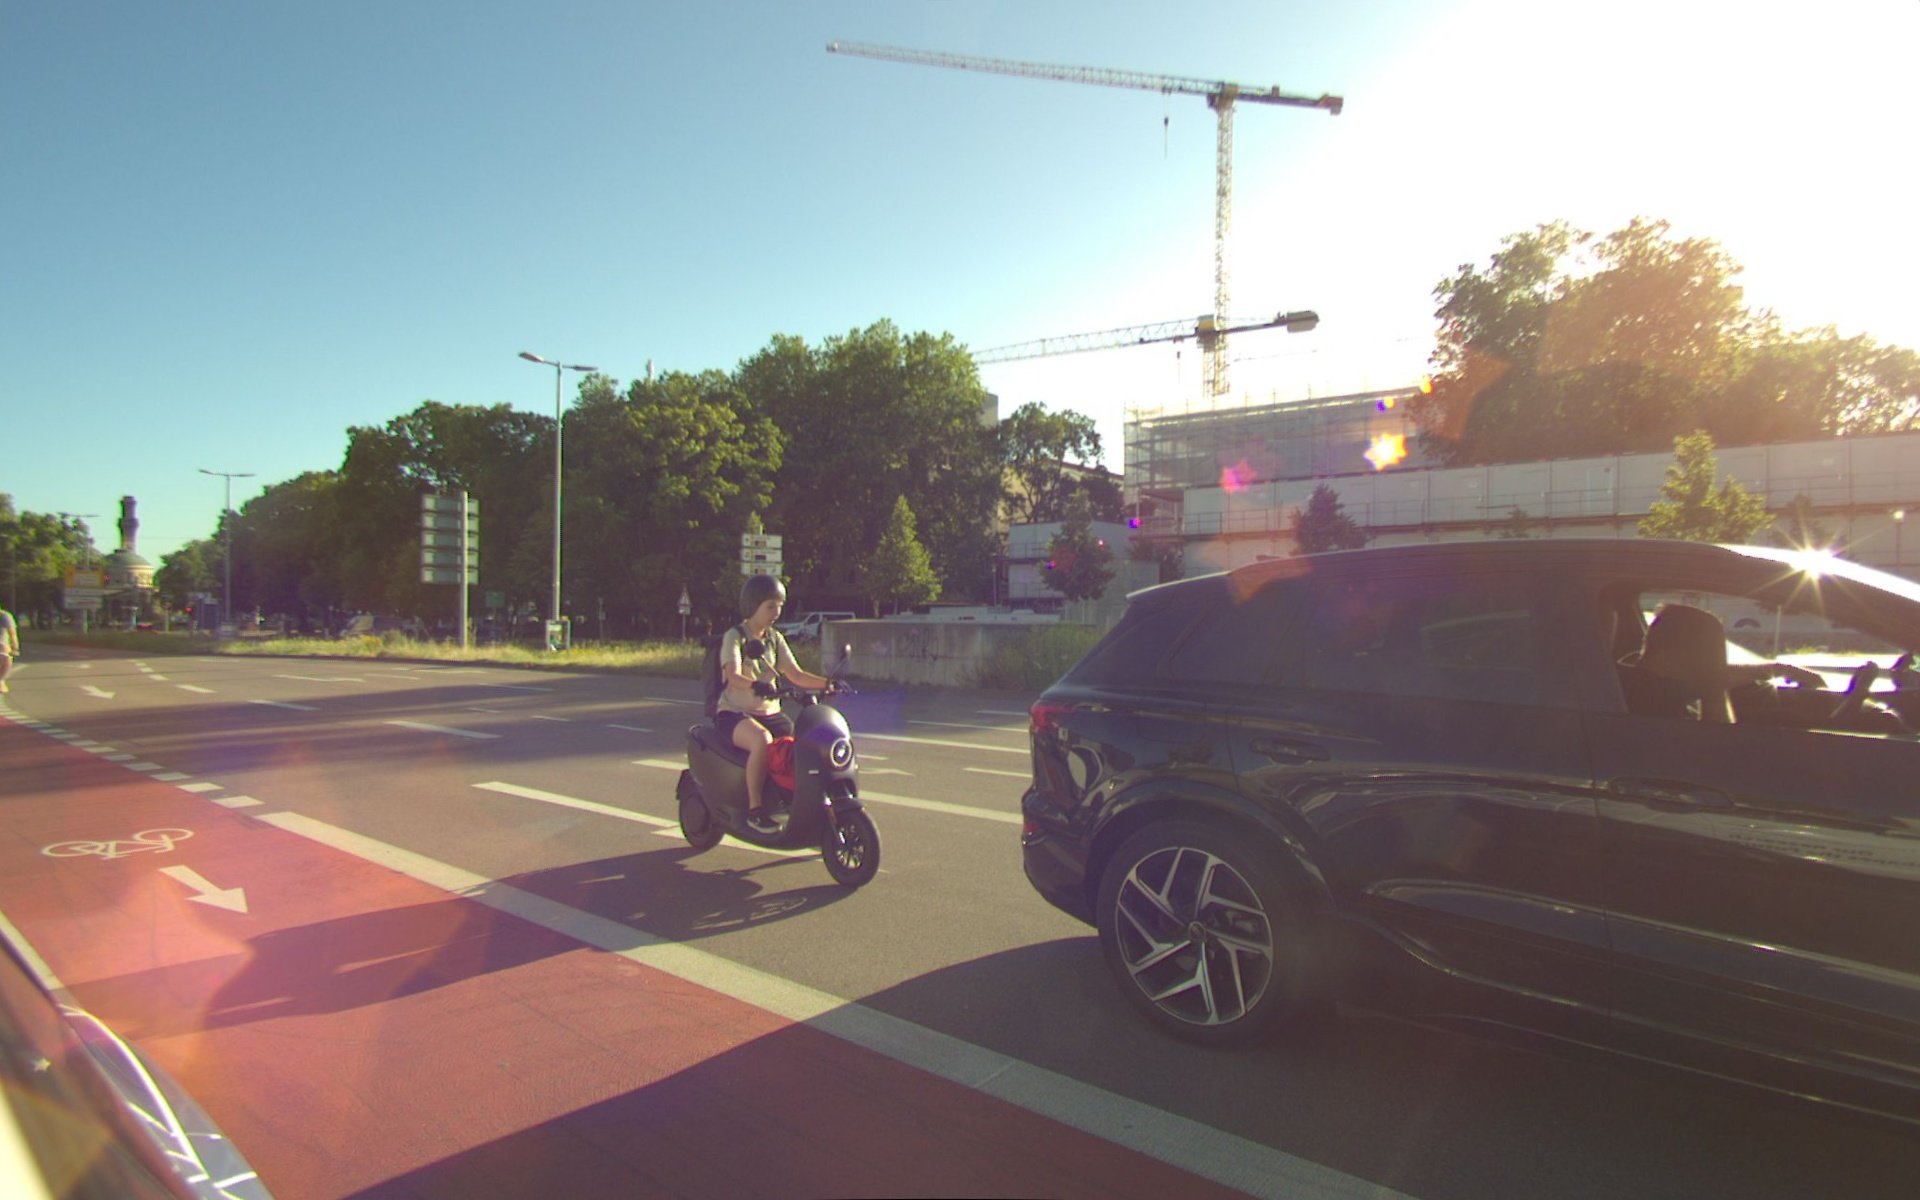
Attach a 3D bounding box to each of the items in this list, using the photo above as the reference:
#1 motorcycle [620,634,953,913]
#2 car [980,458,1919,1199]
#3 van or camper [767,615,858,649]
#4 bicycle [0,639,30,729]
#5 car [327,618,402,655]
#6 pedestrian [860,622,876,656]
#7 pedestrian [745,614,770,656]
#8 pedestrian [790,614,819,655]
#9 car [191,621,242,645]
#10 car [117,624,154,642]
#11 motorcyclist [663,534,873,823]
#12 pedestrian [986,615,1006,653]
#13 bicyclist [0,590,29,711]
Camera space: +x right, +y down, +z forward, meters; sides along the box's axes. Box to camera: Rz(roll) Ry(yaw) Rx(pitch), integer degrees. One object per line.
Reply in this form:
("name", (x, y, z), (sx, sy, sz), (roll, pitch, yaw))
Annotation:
("motorcycle", (-1.029, 0.843, 5.710), (1.943, 1.290, 0.817), (-1, -2, 41))
("car", (2.549, 0.554, 3.195), (4.660, 1.720, 2.144), (-1, -1, 40))
("van or camper", (-8.961, 1.933, 61.893), (1.951, 1.960, 5.425), (-2, -2, 44))
("bicycle", (-13.656, 1.167, 14.227), (1.505, 1.201, 0.680), (-1, -2, 41))
("car", (-32.495, 1.954, 55.186), (4.925, 1.937, 1.863), (-1, -2, 39))
("pedestrian", (-4.094, 1.722, 45.156), (0.494, 1.522, 0.492), (-1, -2, 41))
("pedestrian", (-10.097, 1.739, 50.435), (0.941, 2.029, 0.842), (-1, 0, -35))
("pedestrian", (-7.577, 1.665, 49.203), (0.815, 1.978, 1.111), (-1, 0, 41))
("car", (-45.611, 2.014, 62.068), (3.941, 1.387, 1.705), (-1, -2, 41))
("car", (-71.171, 2.811, 87.330), (3.979, 1.492, 1.857), (-1, -2, 41))
("motorcyclist", (-1.091, 0.414, 5.783), (0.877, 1.475, 0.813), (-1, -2, 41))
("pedestrian", (1.547, 1.442, 43.701), (0.597, 1.614, 0.580), (-1, 0, 38))
("bicyclist", (-13.685, 0.707, 14.294), (0.877, 1.671, 0.666), (-1, -2, 41))
